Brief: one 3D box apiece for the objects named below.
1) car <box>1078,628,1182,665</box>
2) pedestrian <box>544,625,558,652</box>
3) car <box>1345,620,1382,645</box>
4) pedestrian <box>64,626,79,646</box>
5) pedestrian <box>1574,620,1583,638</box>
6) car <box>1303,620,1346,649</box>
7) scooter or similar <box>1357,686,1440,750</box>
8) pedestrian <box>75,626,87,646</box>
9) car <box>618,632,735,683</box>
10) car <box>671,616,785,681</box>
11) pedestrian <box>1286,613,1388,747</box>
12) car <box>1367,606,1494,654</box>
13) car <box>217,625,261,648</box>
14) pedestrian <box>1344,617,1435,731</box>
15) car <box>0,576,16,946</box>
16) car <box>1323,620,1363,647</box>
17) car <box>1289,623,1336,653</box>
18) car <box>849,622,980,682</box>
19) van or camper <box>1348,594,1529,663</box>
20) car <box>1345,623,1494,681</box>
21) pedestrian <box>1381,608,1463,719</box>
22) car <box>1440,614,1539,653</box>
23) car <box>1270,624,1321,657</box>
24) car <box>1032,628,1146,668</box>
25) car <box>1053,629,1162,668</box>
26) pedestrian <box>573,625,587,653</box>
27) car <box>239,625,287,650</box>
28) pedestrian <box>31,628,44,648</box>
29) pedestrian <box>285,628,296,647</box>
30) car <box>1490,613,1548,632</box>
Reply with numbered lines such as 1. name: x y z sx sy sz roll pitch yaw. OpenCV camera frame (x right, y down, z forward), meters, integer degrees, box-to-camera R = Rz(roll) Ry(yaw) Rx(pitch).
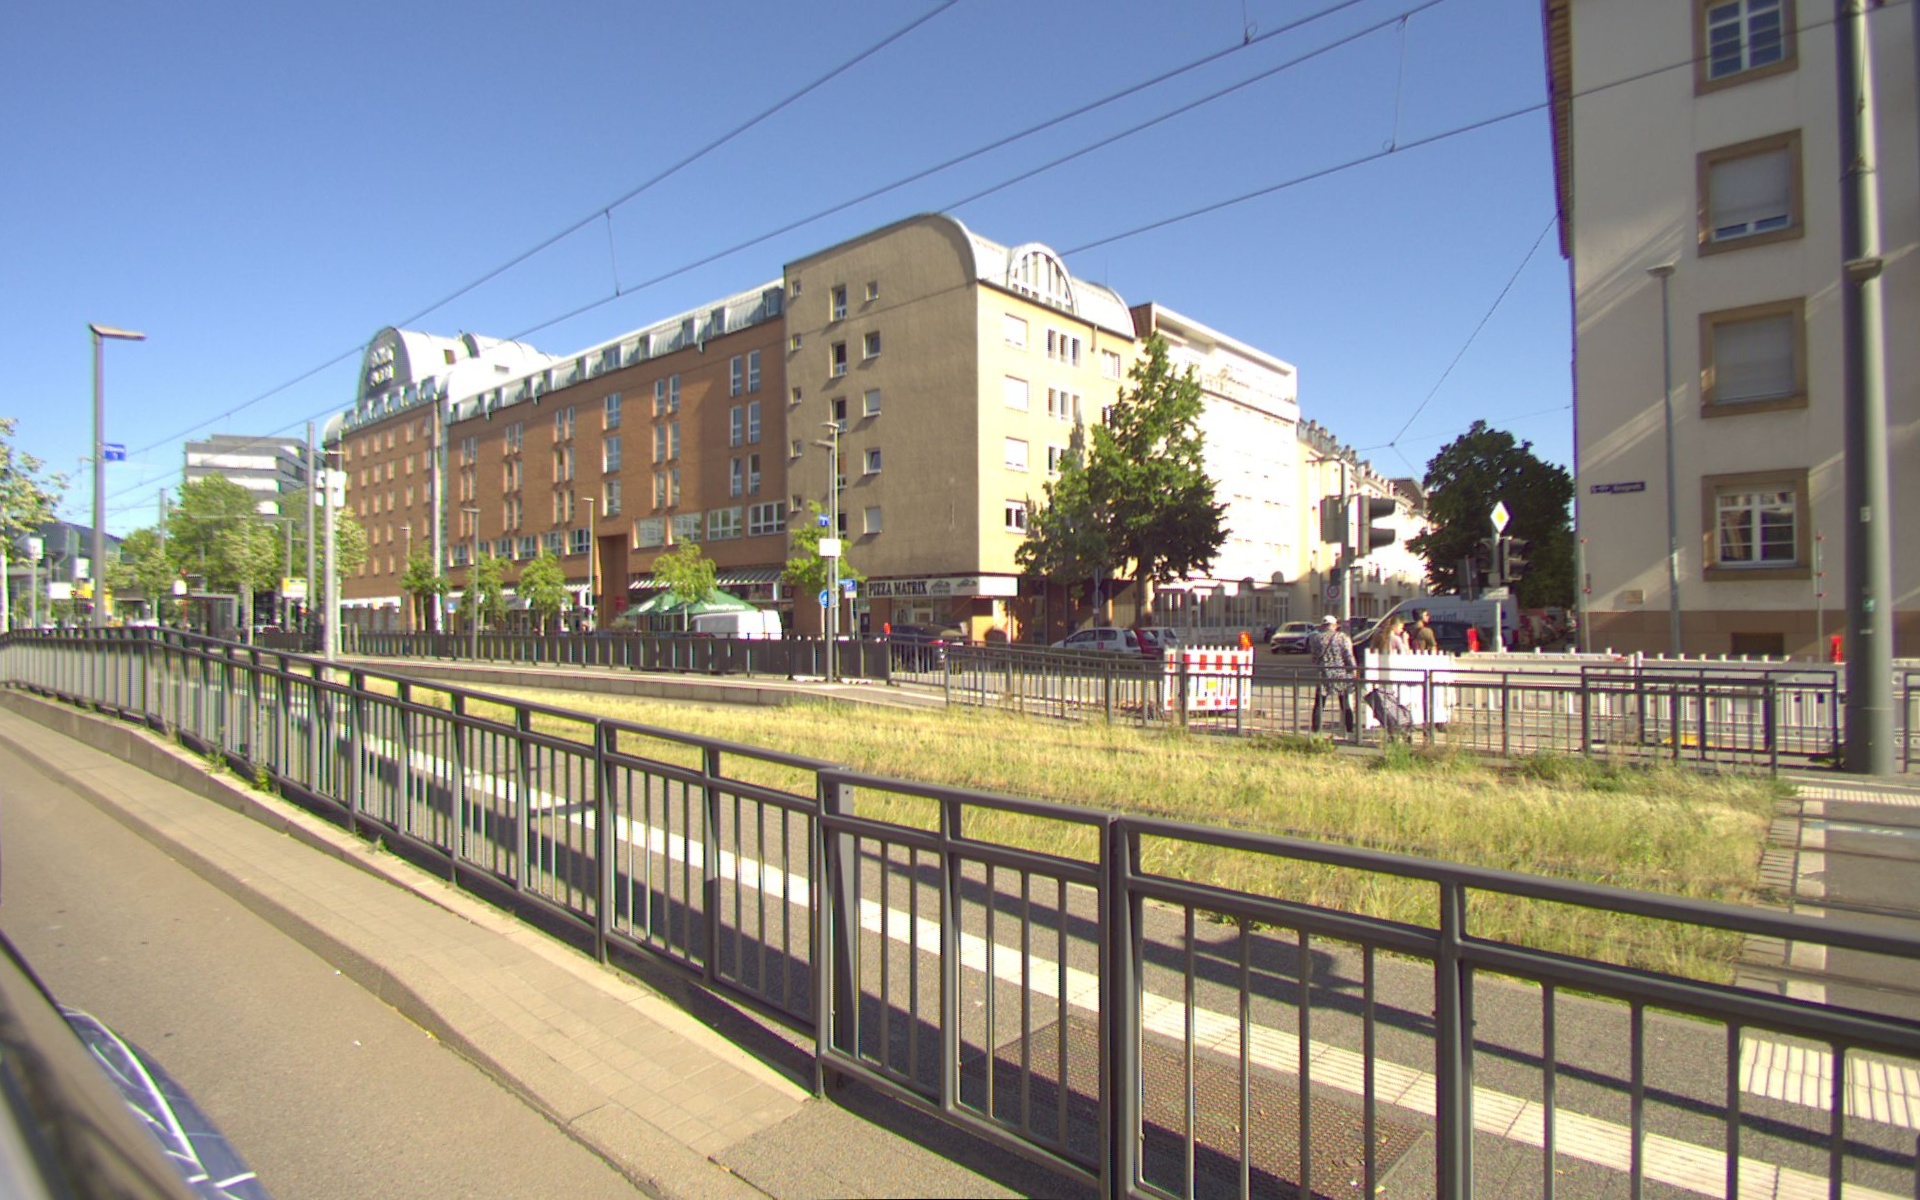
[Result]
1. car: 7.146 1.928 42.576 3.980 1.462 1.768 -1 -2 28
2. pedestrian: -28.241 2.663 69.851 0.644 1.854 0.614 -2 -2 39
3. car: 28.083 2.237 70.337 1.947 1.674 3.962 -1 -2 28
4. pedestrian: -72.495 2.929 82.585 0.601 1.581 0.727 -1 -1 0
5. pedestrian: 62.965 2.945 102.975 0.687 1.768 0.807 -2 -2 34
6. car: 22.204 2.086 61.531 1.947 1.674 3.962 -1 -2 28
7. scooter or similar: 5.085 1.357 11.752 0.507 0.656 0.711 -1 -1 -30
8. pedestrian: -71.051 2.905 81.807 0.599 1.581 0.911 -2 -1 -30
9. car: -9.246 1.821 32.918 3.998 1.527 1.797 -2 -2 41
10. car: -9.318 1.855 40.216 1.969 2.388 5.653 0 -2 -41
11. pedestrian: 4.601 0.941 12.374 0.784 1.548 0.818 -1 -1 -30
12. car: 15.691 1.000 33.765 3.654 1.533 1.673 -1 -2 32
13. car: -57.768 2.933 81.066 3.998 1.696 1.973 -1 0 41
14. pedestrian: 6.185 1.033 14.580 0.855 1.548 0.910 0 -1 -43
15. car: -6.257 0.733 5.113 3.998 1.618 1.779 -1 0 41
16. car: 24.981 2.175 65.887 1.947 1.674 3.962 -1 -2 28
17. car: 20.110 2.136 57.678 1.947 1.674 3.962 -1 -2 28
18. car: -1.486 1.608 32.068 3.997 1.773 1.796 -2 -2 40
19. van or camper: 17.738 1.072 37.641 5.933 2.419 1.979 -1 -2 30
20. car: 12.988 1.447 28.659 3.662 1.533 1.673 -1 -2 32
21. pedestrian: 7.764 1.035 17.027 0.853 1.794 0.912 -1 -1 -32
22. car: 25.217 1.572 48.206 3.990 1.789 1.722 -1 -2 35
23. car: 17.791 2.126 53.616 1.947 1.674 3.962 -1 -2 28
24. car: 4.931 1.822 38.675 3.980 1.462 1.768 -1 -2 28
25. car: 5.897 1.918 40.505 3.980 1.462 1.768 -1 -2 28
26. pedestrian: -24.842 2.532 66.185 0.644 1.854 0.614 -2 -2 41
27. car: -51.136 2.722 74.219 3.998 1.696 1.973 -1 0 41
28. pedestrian: -72.288 2.984 79.311 0.599 1.581 0.730 0 -2 -29
29. pedestrian: -63.440 3.555 95.869 0.704 1.769 0.782 0 -2 -22
30. car: 43.901 1.755 79.556 3.853 1.472 1.740 -1 -2 24
